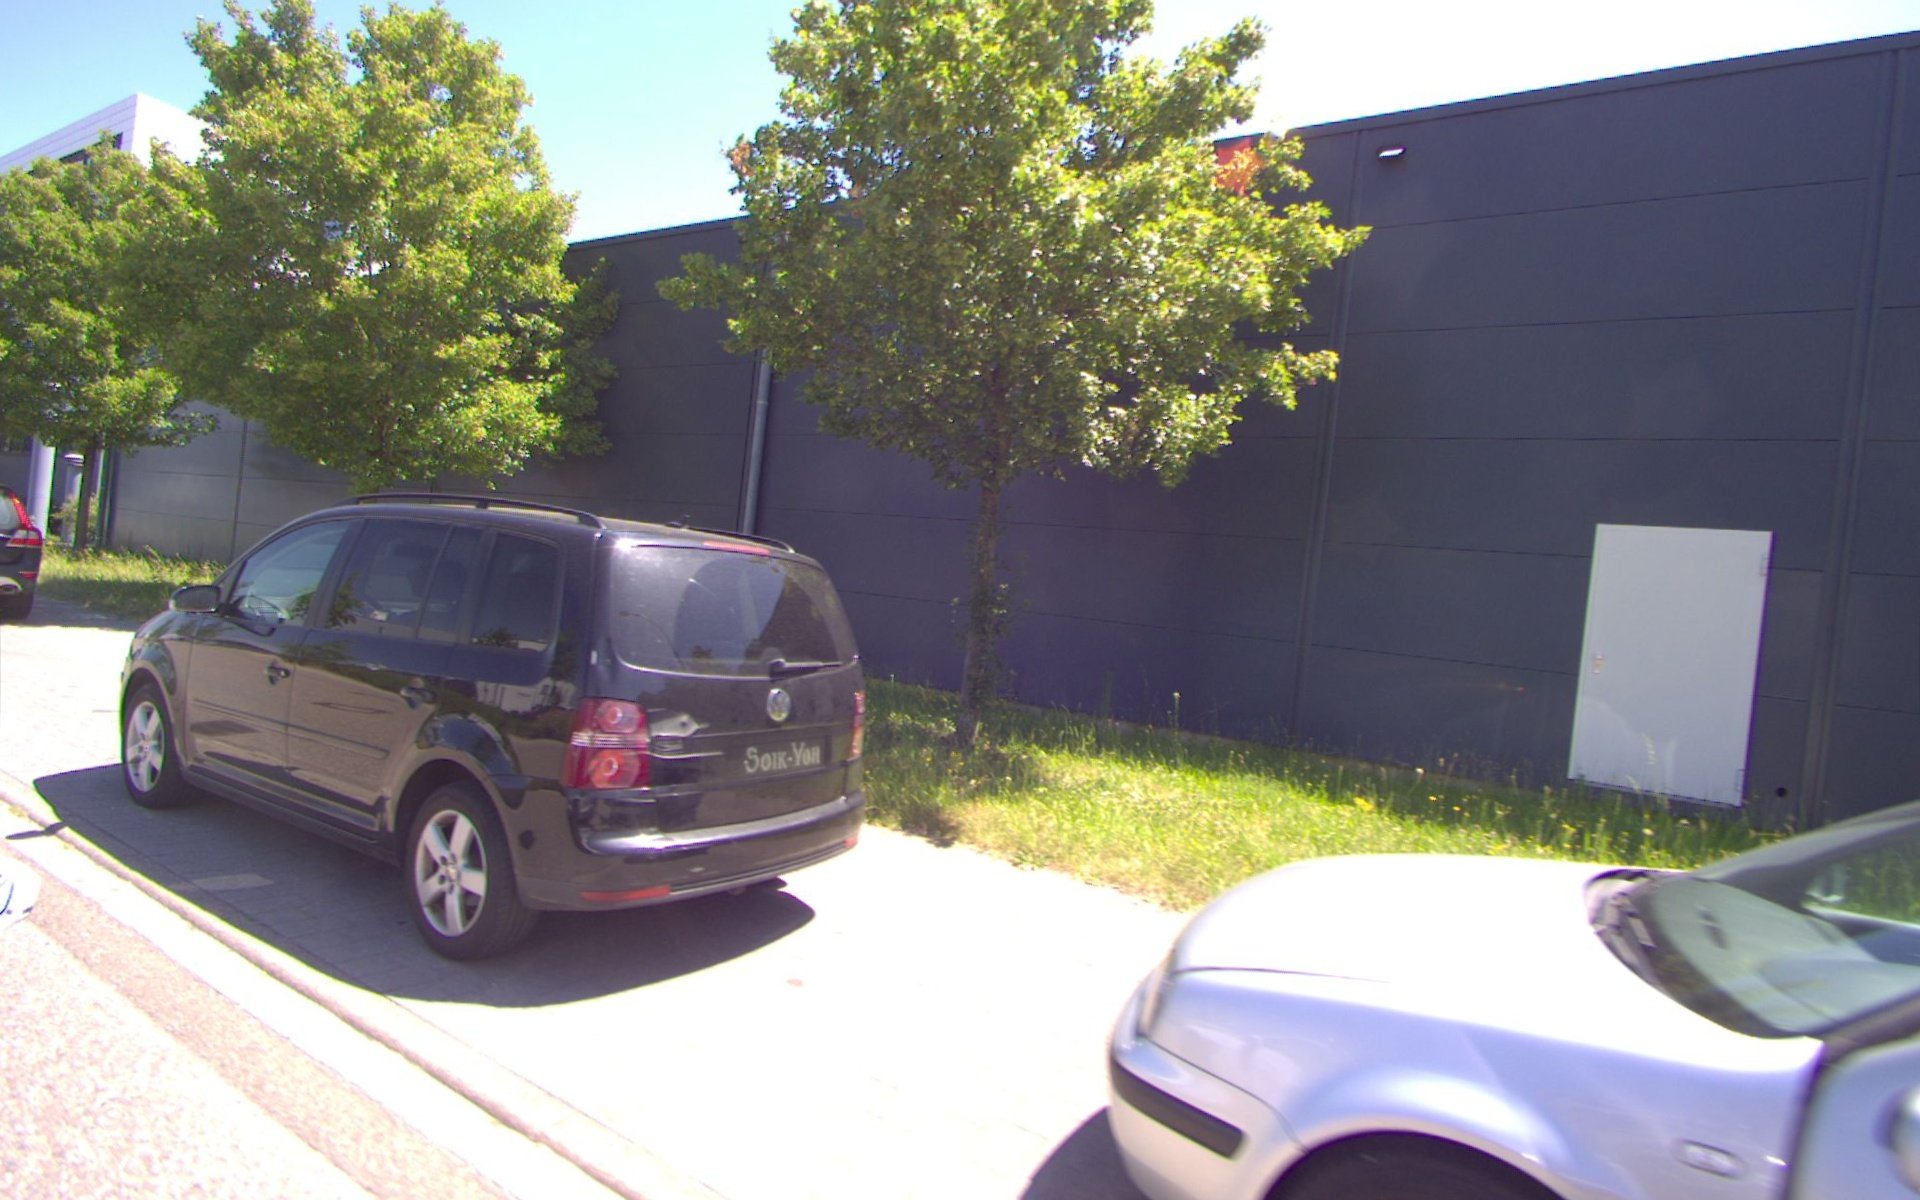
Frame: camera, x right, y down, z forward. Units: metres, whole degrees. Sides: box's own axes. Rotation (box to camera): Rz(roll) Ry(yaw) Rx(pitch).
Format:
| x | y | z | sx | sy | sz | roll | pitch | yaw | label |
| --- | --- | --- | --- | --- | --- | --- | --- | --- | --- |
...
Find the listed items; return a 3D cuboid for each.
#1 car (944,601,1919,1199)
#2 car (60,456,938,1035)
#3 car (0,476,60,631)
| x | y | z | sx | sy | sz | roll | pitch | yaw | label |
| --- | --- | --- | --- | --- | --- | --- | --- | --- | --- |
| 2.201 | 0.976 | 1.857 | 4.120 | 1.476 | 1.708 | 6 | 1 | 32 | car |
| -2.441 | 0.329 | 4.933 | 4.296 | 1.691 | 1.739 | 7 | 1 | 32 | car |
| -12.409 | -0.737 | 11.548 | 4.636 | 1.638 | 1.808 | 6 | 1 | 32 | car |
